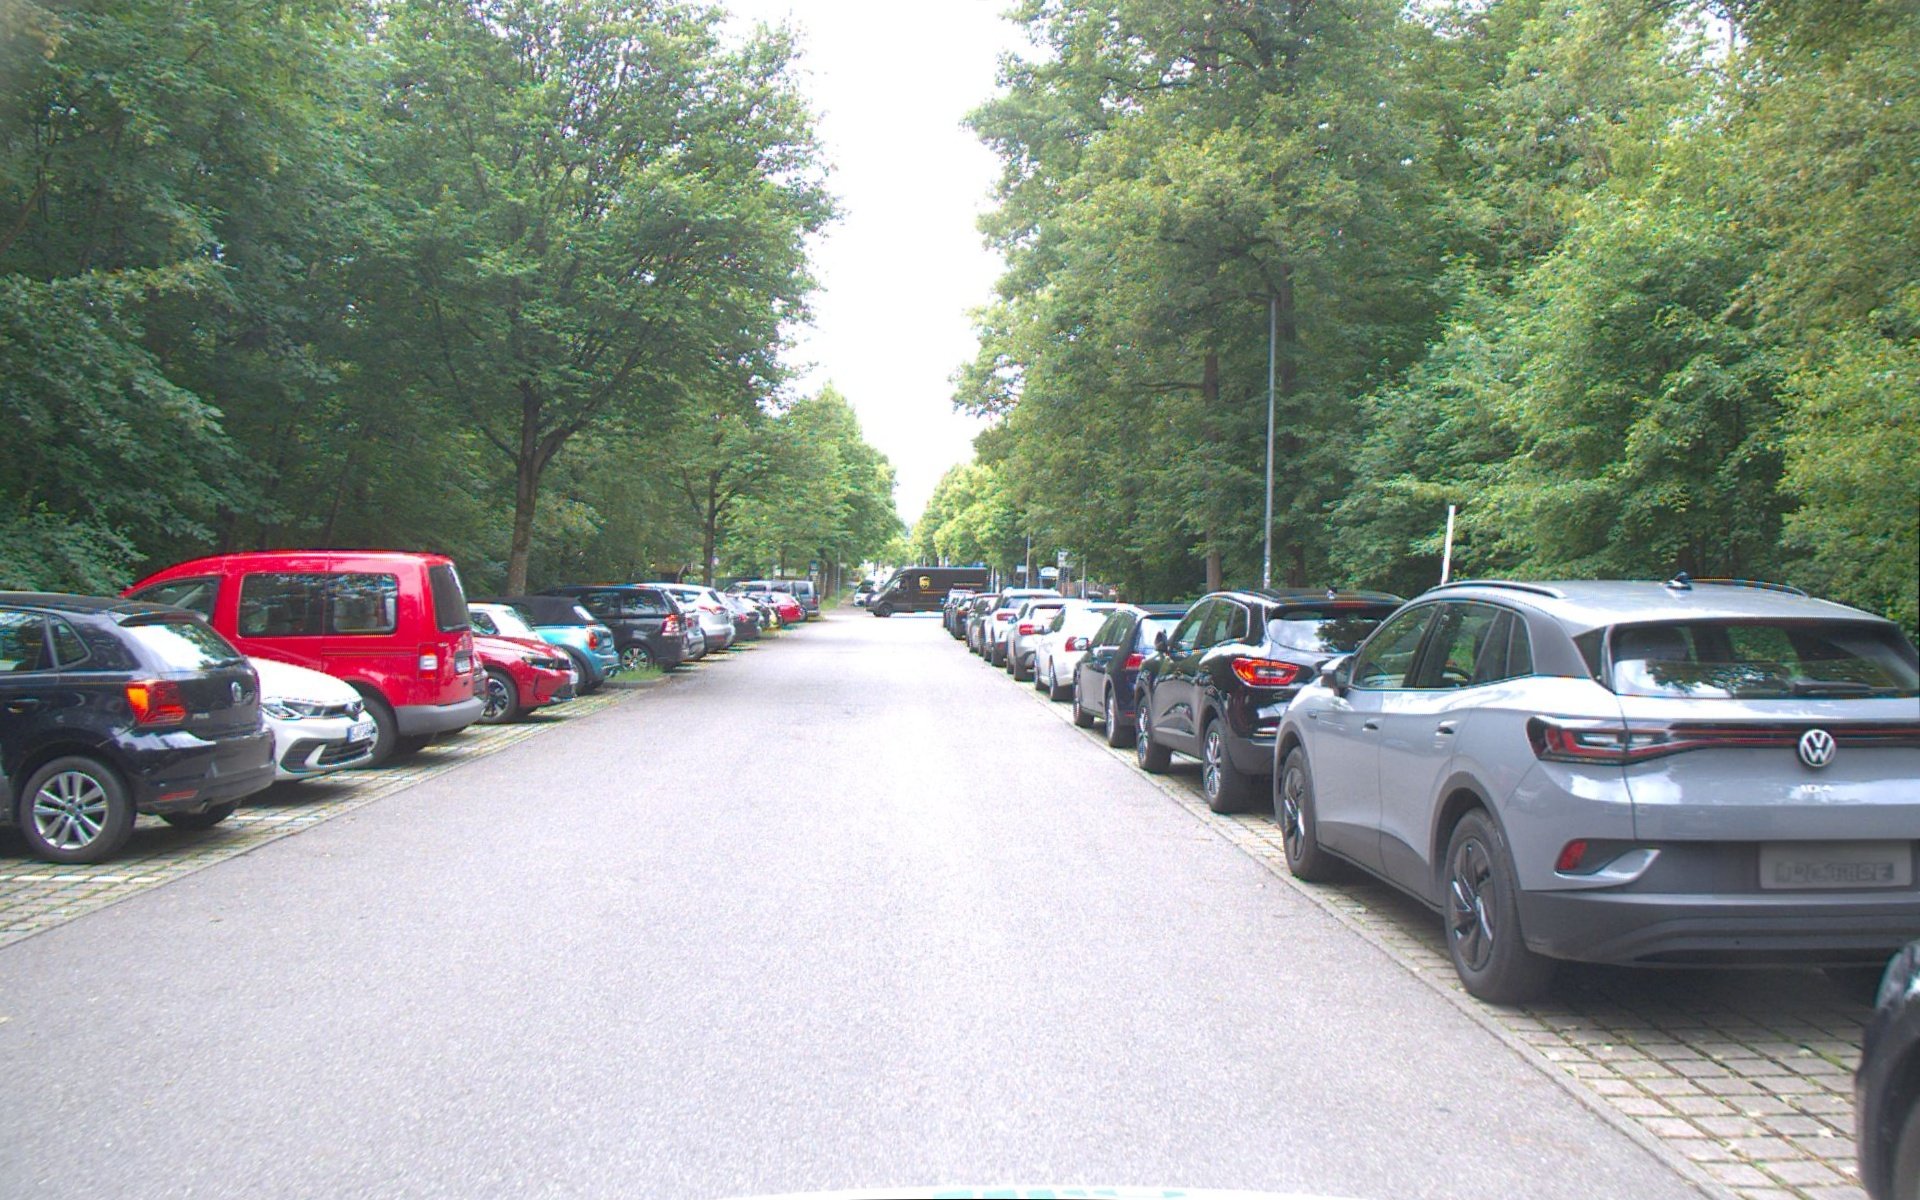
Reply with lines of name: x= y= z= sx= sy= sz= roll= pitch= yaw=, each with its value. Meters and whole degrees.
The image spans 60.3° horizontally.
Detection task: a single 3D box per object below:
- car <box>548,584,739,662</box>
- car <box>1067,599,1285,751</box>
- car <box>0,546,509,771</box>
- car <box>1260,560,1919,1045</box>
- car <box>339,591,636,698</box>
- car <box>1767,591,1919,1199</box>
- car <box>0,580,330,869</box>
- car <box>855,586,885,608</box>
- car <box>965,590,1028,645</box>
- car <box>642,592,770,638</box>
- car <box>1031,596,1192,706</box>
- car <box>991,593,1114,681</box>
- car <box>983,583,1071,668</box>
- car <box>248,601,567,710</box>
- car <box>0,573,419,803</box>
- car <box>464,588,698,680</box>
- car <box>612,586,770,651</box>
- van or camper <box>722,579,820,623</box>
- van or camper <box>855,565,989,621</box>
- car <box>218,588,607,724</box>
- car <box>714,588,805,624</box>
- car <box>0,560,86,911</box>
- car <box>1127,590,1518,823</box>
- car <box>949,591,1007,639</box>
car: x=-7.008 y=0.503 z=36.901 sx=3.906 sy=1.669 sz=1.734 roll=1 pitch=0 yaw=-1
car: x=2.279 y=0.754 z=18.390 sx=1.633 sy=1.470 sz=3.810 roll=1 pitch=0 yaw=-5
car: x=-6.250 y=0.493 z=14.804 sx=3.908 sy=1.848 sz=2.113 roll=1 pitch=0 yaw=-5
car: x=2.866 y=0.652 z=7.703 sx=1.938 sy=1.564 sz=4.620 roll=1 pitch=0 yaw=-2
car: x=-6.978 y=0.638 z=24.729 sx=3.906 sy=1.500 sz=1.847 roll=1 pitch=0 yaw=-1
car: x=2.858 y=0.750 z=1.945 sx=1.604 sy=1.503 sz=4.148 roll=1 pitch=0 yaw=-3
car: x=-6.058 y=0.662 z=9.816 sx=3.910 sy=1.557 sz=1.998 roll=1 pitch=0 yaw=-6
car: x=-5.892 y=-0.190 z=108.659 sx=1.703 sy=1.182 sz=3.412 roll=2 pitch=3 yaw=0
car: x=1.051 y=0.492 z=49.244 sx=1.676 sy=1.535 sz=3.999 roll=1 pitch=0 yaw=-1
car: x=-8.033 y=0.458 z=52.475 sx=3.913 sy=1.406 sz=1.996 roll=1 pitch=0 yaw=-9
car: x=2.235 y=0.717 z=25.350 sx=1.898 sy=1.501 sz=3.990 roll=1 pitch=0 yaw=-3
car: x=1.682 y=0.657 z=31.208 sx=1.688 sy=1.520 sz=3.768 roll=1 pitch=0 yaw=-7
car: x=1.429 y=0.522 z=36.733 sx=1.676 sy=1.758 sz=3.999 roll=1 pitch=0 yaw=-1
car: x=-7.420 y=0.724 z=22.507 sx=3.670 sy=1.393 sz=1.935 roll=1 pitch=0 yaw=-1
car: x=-6.286 y=0.594 z=12.256 sx=3.907 sy=1.557 sz=1.999 roll=1 pitch=0 yaw=-2
car: x=-6.706 y=0.584 z=29.578 sx=3.755 sy=1.563 sz=1.870 roll=1 pitch=0 yaw=-1
car: x=-7.152 y=0.490 z=44.320 sx=3.906 sy=1.669 sz=2.009 roll=1 pitch=0 yaw=-1
van or camper: x=-9.078 y=0.037 z=79.275 sx=4.402 sy=1.900 sz=1.912 roll=1 pitch=3 yaw=-17
van or camper: x=-2.185 y=-0.384 z=94.480 sx=7.205 sy=2.939 sz=2.639 roll=1 pitch=3 yaw=-17
car: x=-6.374 y=0.626 z=19.649 sx=3.906 sy=1.500 sz=2.114 roll=1 pitch=0 yaw=-1
car: x=-8.139 y=0.242 z=67.039 sx=3.516 sy=1.385 sz=1.822 roll=1 pitch=0 yaw=-14
car: x=-6.740 y=0.608 z=7.338 sx=4.637 sy=1.623 sz=1.958 roll=1 pitch=0 yaw=-3
car: x=2.686 y=0.719 z=13.336 sx=1.939 sy=1.564 sz=4.162 roll=1 pitch=0 yaw=-5
car: x=0.577 y=0.477 z=56.451 sx=1.882 sy=1.547 sz=3.886 roll=1 pitch=0 yaw=-1
